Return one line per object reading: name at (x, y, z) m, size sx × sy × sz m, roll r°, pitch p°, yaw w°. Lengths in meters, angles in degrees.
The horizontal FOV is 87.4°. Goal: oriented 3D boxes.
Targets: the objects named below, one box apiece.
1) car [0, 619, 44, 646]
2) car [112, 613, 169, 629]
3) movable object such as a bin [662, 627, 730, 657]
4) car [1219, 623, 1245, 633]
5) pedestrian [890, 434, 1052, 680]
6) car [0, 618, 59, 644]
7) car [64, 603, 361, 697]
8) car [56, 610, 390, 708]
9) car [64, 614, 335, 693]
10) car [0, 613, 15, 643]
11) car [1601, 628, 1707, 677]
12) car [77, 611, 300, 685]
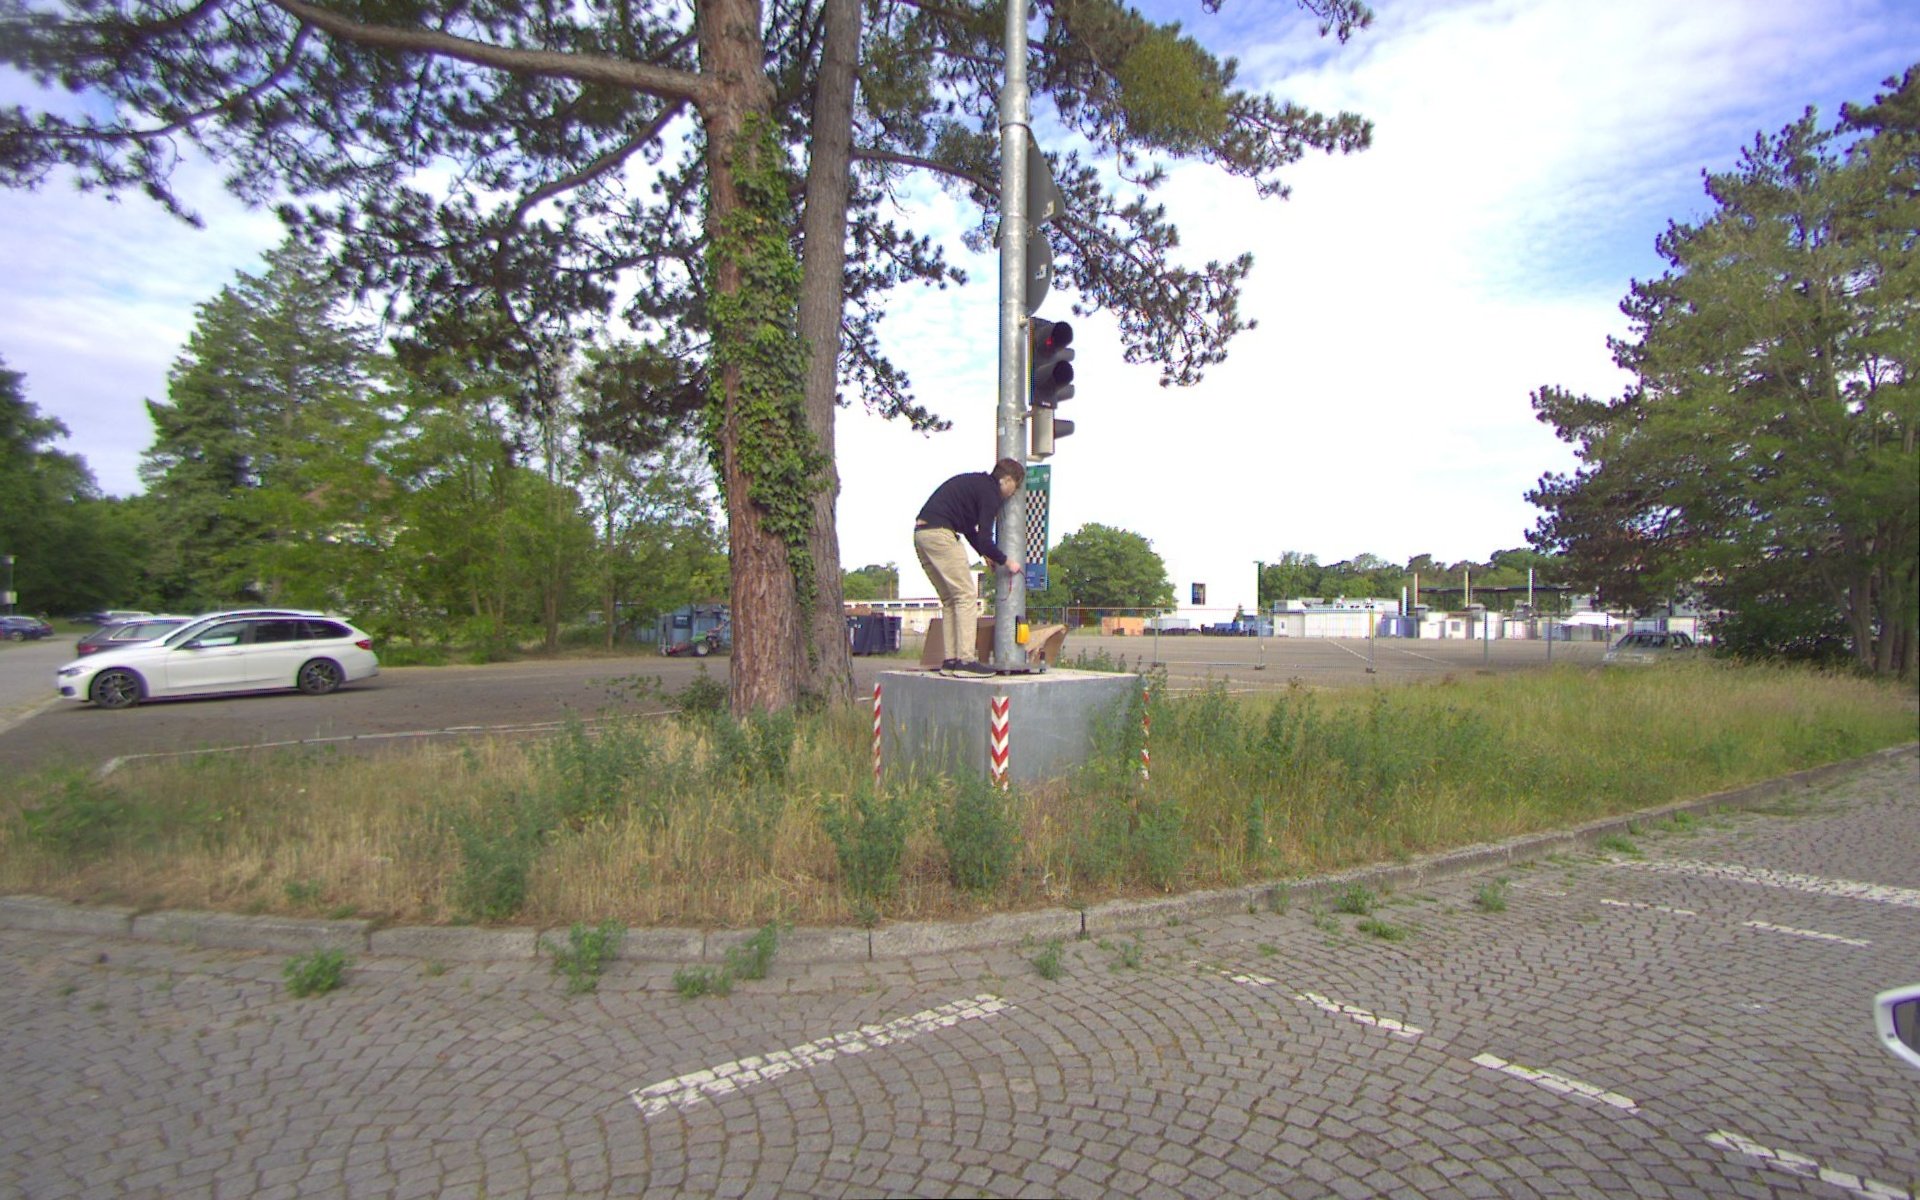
car at (-57.104, 1.947, 59.167) m, size 4.546 × 1.542 × 1.820 m, roll -1°, pitch 0°, yaw -40°
car at (-84.965, 2.159, 104.209) m, size 4.547 × 1.654 × 1.820 m, roll 2°, pitch -1°, yaw -40°
movable object such as a bin at (-8.593, 1.349, 32.751) m, size 1.923 × 0.945 × 1.028 m, roll 2°, pitch -2°, yaw -44°
car at (44.040, 4.518, 162.650) m, size 1.616 × 1.553 × 3.935 m, roll 2°, pitch -1°, yaw -38°
pedestrian at (0.054, -0.255, 6.821) m, size 0.810 × 1.537 × 0.879 m, roll 1°, pitch -1°, yaw -23°
car at (-59.532, 1.950, 62.864) m, size 4.546 × 1.542 × 1.820 m, roll -1°, pitch 0°, yaw -40°
car at (-14.655, 0.900, 19.919) m, size 4.546 × 1.599 × 1.820 m, roll -1°, pitch 0°, yaw -40°
car at (-12.976, 0.944, 17.950) m, size 4.616 × 1.470 × 1.820 m, roll -1°, pitch 0°, yaw -40°
car at (-16.381, 1.082, 21.899) m, size 4.542 × 1.489 × 1.822 m, roll -1°, pitch 0°, yaw -37°
car at (-51.199, 1.452, 51.011) m, size 4.546 × 1.542 × 1.820 m, roll -1°, pitch 0°, yaw -40°
car at (22.454, 1.651, 32.437) m, size 4.430 × 1.457 × 1.701 m, roll 2°, pitch -1°, yaw -40°
car at (-18.209, 1.068, 23.924) m, size 4.075 × 1.542 × 1.720 m, roll -1°, pitch 0°, yaw -37°
